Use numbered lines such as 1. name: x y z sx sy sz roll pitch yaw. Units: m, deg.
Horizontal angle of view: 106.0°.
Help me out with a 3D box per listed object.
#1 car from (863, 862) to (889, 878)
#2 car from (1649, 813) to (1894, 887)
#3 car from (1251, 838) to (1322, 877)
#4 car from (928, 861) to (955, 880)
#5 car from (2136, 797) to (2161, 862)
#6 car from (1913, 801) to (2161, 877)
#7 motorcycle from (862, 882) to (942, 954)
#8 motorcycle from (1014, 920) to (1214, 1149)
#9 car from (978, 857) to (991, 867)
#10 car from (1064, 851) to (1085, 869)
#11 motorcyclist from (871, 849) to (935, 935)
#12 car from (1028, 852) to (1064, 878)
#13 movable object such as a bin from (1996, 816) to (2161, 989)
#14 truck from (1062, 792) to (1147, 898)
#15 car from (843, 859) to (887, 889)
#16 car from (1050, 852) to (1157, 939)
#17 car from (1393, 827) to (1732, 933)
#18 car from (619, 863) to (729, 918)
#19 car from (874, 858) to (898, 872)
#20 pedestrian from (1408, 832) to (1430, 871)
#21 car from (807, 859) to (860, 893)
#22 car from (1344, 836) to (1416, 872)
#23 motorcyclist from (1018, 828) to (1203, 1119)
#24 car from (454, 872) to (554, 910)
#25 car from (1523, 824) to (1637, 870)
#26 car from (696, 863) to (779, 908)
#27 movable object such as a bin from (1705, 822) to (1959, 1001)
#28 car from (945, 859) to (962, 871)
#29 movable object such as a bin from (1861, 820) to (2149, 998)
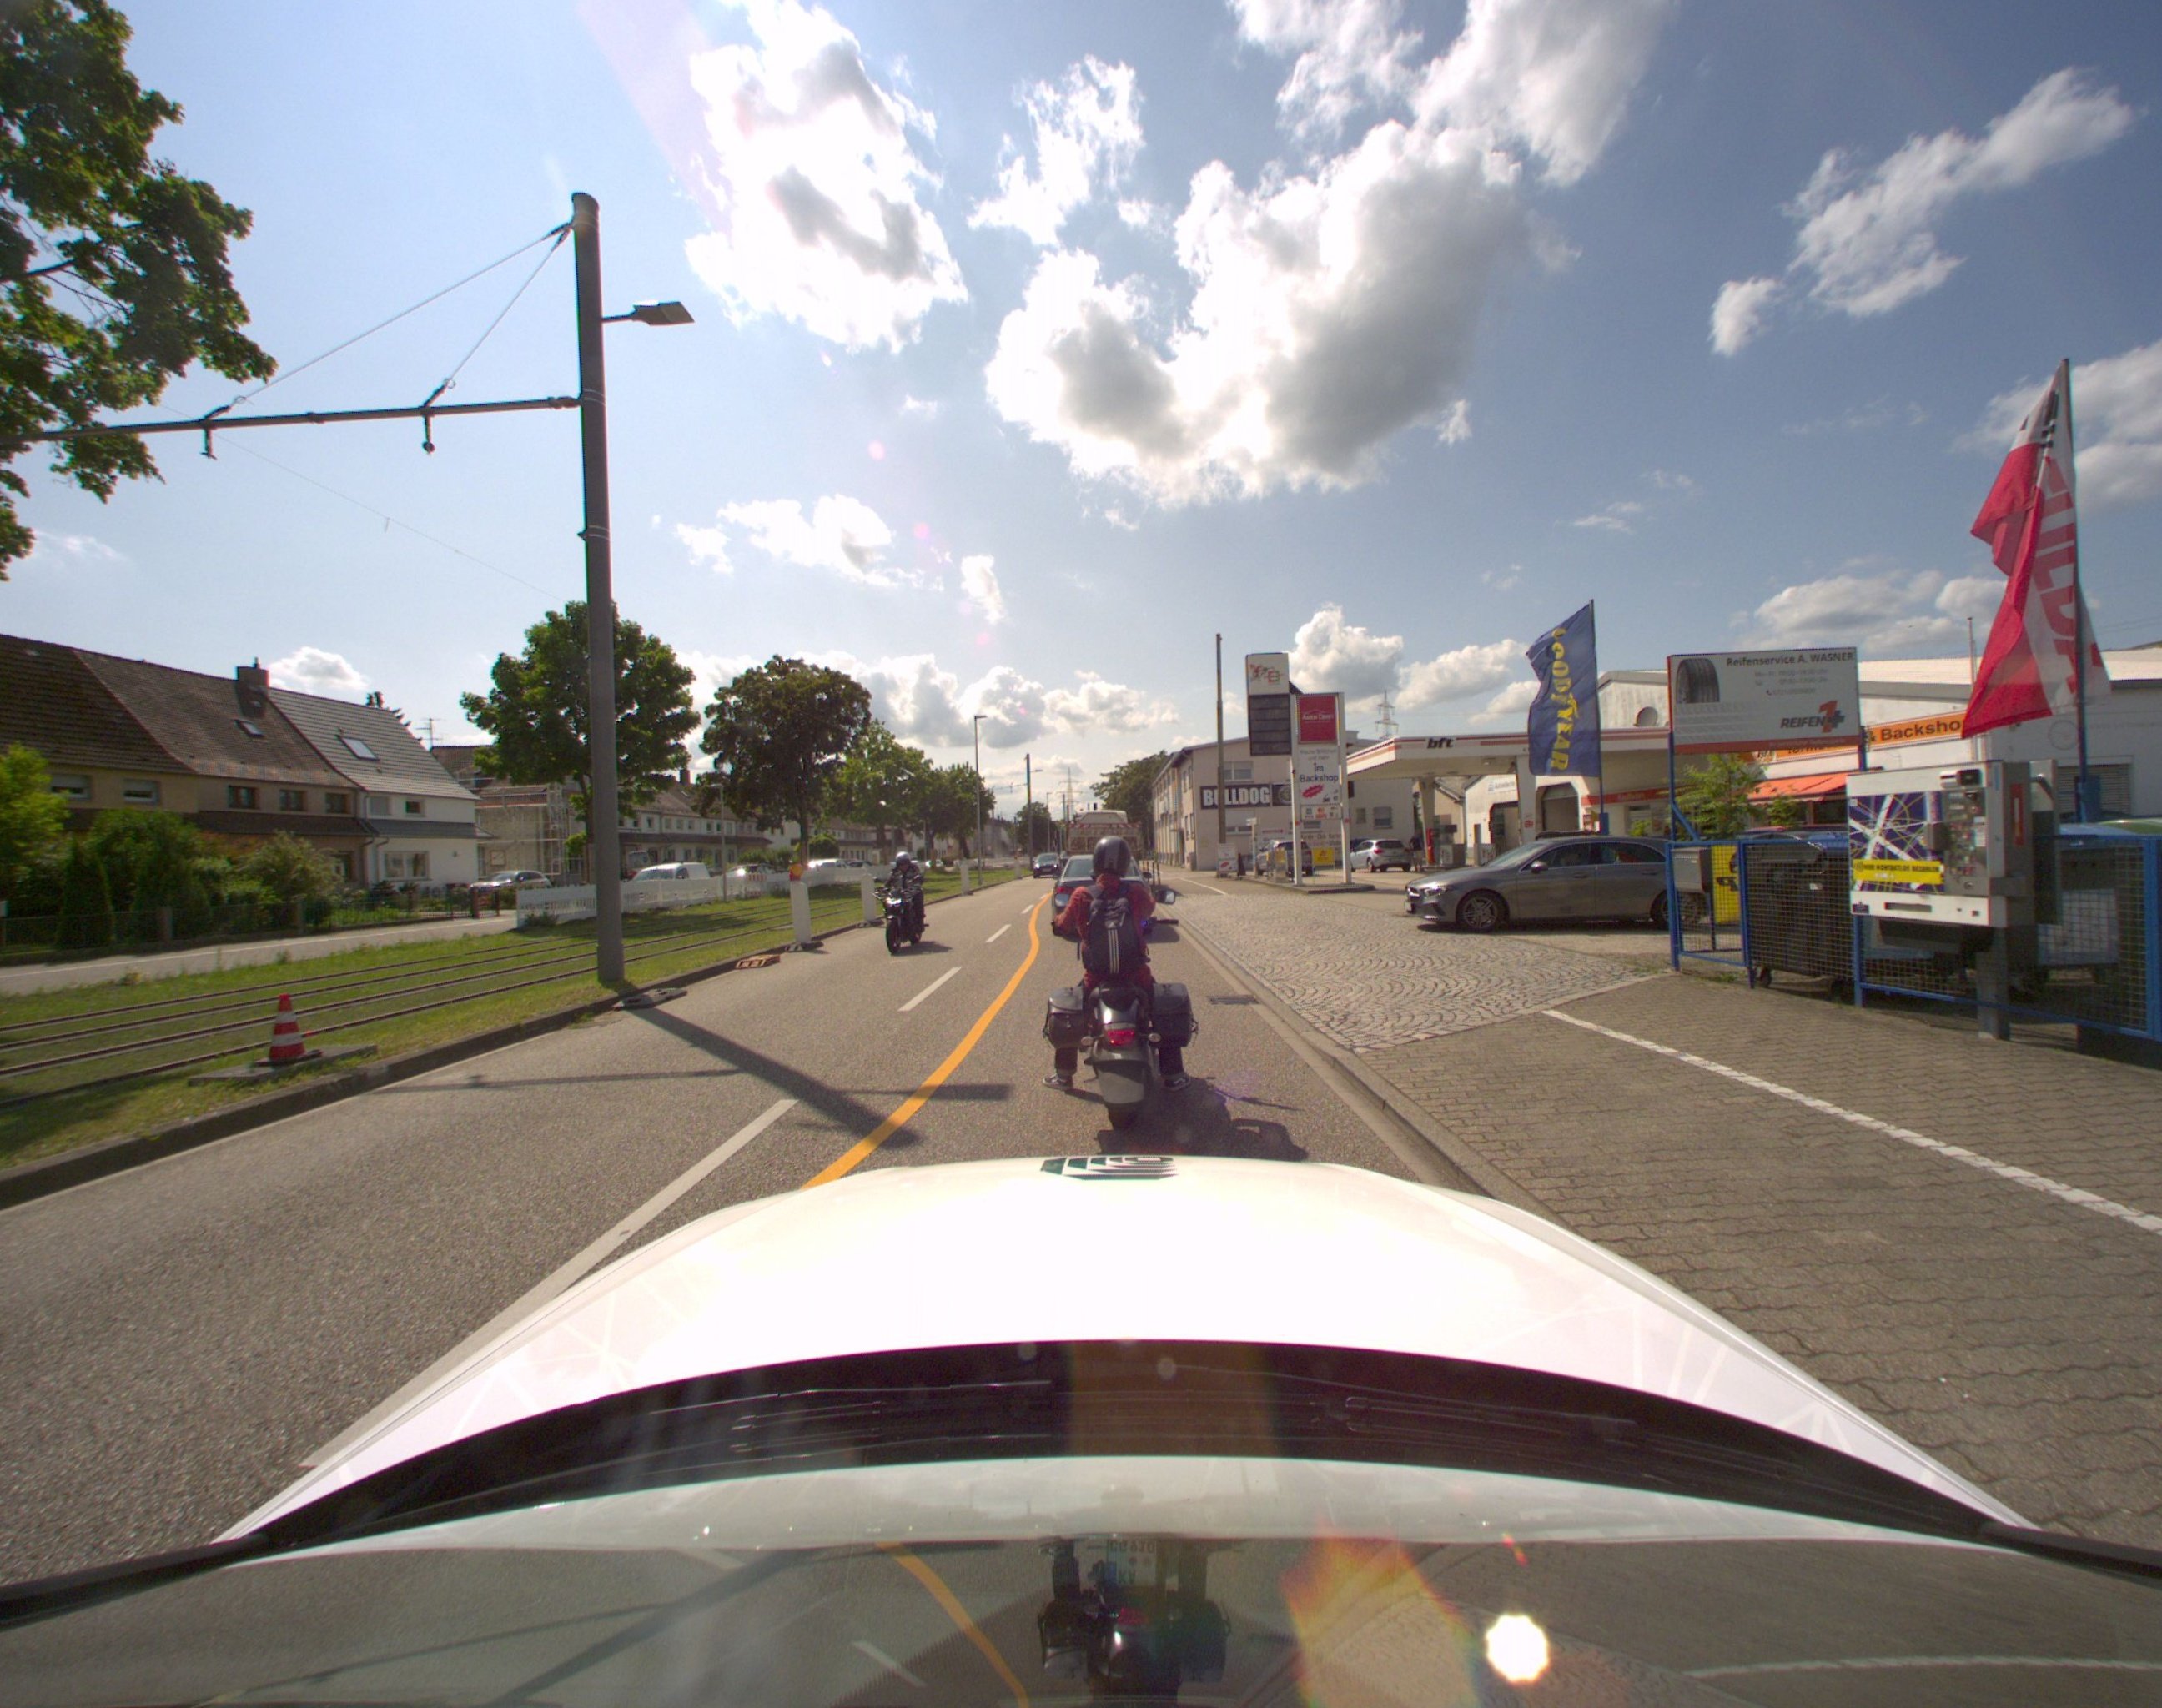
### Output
1. car: -24.391 1.847 97.044 1.769 1.722 4.130 -2 0 2
2. car: 15.776 -0.088 18.762 4.180 1.463 1.587 -2 0 2
3. car: 9.118 0.153 36.456 1.665 1.562 4.235 -2 0 -6
4. car: -13.730 1.638 80.457 1.769 1.722 4.130 -2 0 2
5. car: 26.529 -0.635 18.007 4.180 1.463 1.587 -2 0 2
6. car: 21.525 -0.339 18.169 4.180 1.463 1.587 -2 0 2
7. motorcycle: -3.012 1.043 13.959 0.866 1.021 2.244 -2 0 -1
8. motorcycle: 0.208 1.022 5.448 0.975 0.897 2.654 -2 0 2
9. car: -19.101 1.547 161.356 1.769 1.722 4.252 -2 0 2
10. car: -0.608 0.592 79.280 1.816 1.602 4.326 -3 0 2
11. motorcyclist: -3.028 0.630 13.894 0.866 1.378 0.800 -2 0 -1
12. car: -2.121 0.636 50.781 1.816 1.452 4.326 -3 0 2
13. movable object such as a bin: 9.489 0.373 7.134 1.397 1.396 1.338 -2 0 1
14. truck: 0.887 -0.308 30.419 2.628 3.296 8.059 -2 0 2
15. car: -14.804 1.339 56.040 1.769 1.805 4.130 -2 0 2
16. car: 0.446 0.707 15.934 1.816 1.452 4.002 0 0 2
17. car: 7.334 0.396 12.814 4.246 1.415 1.679 -2 0 10
18. car: -15.429 1.315 31.157 1.769 1.821 4.366 -2 0 2
19. car: -25.163 1.410 105.205 1.769 1.722 4.130 -2 0 2
20. pedestrian: 14.654 -0.129 35.322 0.701 1.656 0.551 -2 0 37
21. car: -15.065 1.330 49.816 1.769 1.867 4.130 -2 0 2
22. car: 13.478 -0.006 36.923 1.800 1.503 3.832 -2 0 -1
23. motorcyclist: 0.183 0.673 5.144 0.975 1.602 1.088 -2 0 1
24. car: -27.436 1.726 38.896 1.769 1.519 4.002 -2 0 2
25. car: 18.121 -0.245 29.788 1.800 1.503 3.833 -2 0 0
26. car: -15.407 1.366 36.801 1.769 1.774 4.230 -2 0 2
27. movable object such as a bin: 6.692 0.476 7.362 1.104 1.436 1.244 -2 0 1
28. car: -19.637 1.646 125.919 1.769 1.722 4.130 -2 0 2
29. movable object such as a bin: 8.087 0.443 7.222 1.104 1.396 1.244 -2 0 1
